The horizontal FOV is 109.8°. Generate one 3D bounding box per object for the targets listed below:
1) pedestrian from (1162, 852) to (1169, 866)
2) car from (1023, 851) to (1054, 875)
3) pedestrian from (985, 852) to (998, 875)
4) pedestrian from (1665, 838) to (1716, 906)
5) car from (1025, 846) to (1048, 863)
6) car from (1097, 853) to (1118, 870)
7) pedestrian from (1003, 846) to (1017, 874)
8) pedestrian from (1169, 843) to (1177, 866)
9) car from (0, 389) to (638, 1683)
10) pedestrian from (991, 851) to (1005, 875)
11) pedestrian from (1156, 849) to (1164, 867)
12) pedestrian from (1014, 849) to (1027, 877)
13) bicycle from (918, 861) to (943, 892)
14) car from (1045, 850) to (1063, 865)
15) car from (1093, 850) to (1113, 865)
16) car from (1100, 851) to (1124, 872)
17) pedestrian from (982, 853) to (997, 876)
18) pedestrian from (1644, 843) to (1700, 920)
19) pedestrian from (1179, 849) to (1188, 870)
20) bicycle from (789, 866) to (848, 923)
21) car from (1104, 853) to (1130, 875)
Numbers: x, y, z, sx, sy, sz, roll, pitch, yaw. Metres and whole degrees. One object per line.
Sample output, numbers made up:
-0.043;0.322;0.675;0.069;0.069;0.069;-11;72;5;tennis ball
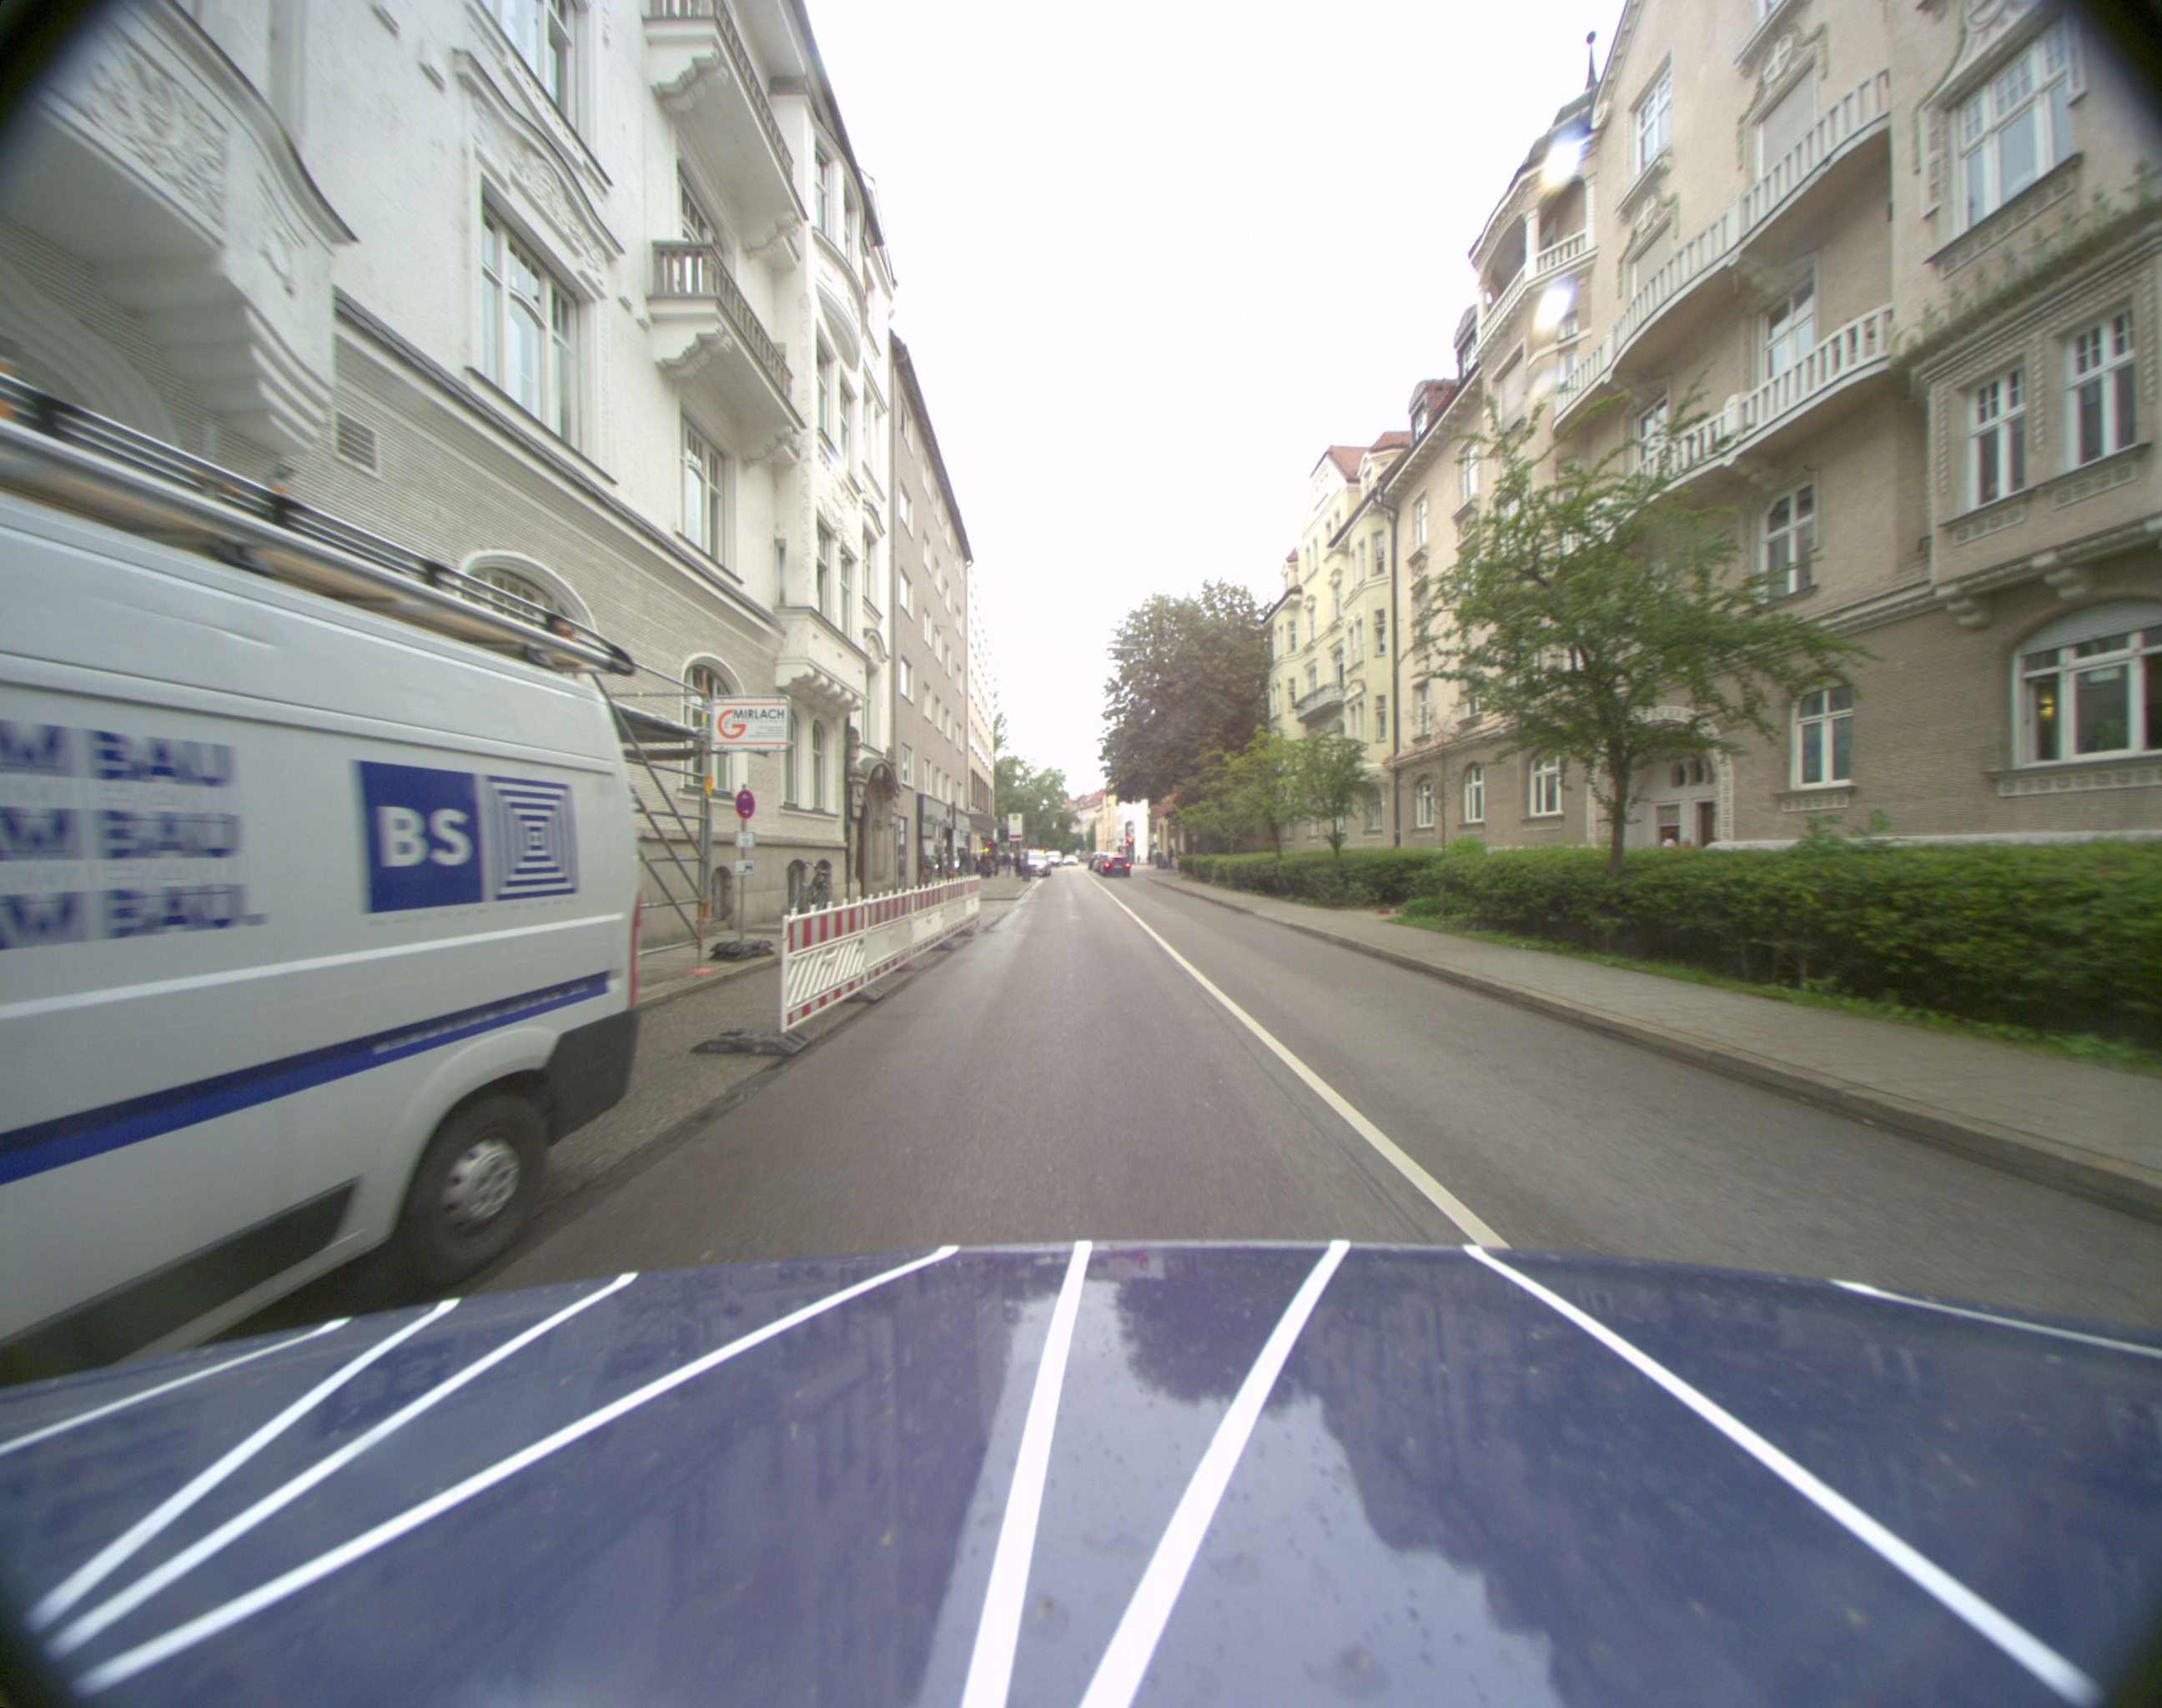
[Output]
7.333;0.433;65.763;0.546;1.237;0.577;0;1;0;pedestrian
-2.987;0.600;54.490;1.723;1.622;4.001;0;0;4;car
-5.625;0.570;47.665;0.747;1.439;0.571;0;1;0;pedestrian
14.508;0.417;18.097;0.611;1.602;0.721;0;1;-12;pedestrian
-4.312;0.071;74.501;1.723;1.622;4.001;0;0;4;car
2.293;0.591;64.988;1.723;1.398;4.001;0;0;4;car
-4.680;0.381;50.166;0.826;1.849;0.820;-1;1;-2;pedestrian
7.616;0.050;62.931;0.625;1.945;0.662;0;1;0;pedestrian
-3.267;0.372;1.062;2.082;2.673;5.444;1;0;0;car
-5.367;0.572;49.180;0.837;1.580;0.805;0;1;-5;pedestrian
6.887;0.369;66.223;0.625;1.579;0.662;0;1;0;pedestrian
-3.738;0.539;46.841;0.745;1.706;0.616;0;1;0;pedestrian
-5.722;0.848;28.899;0.593;1.111;1.845;0;0;0;bicycle
-3.193;0.404;89.973;1.920;1.648;4.599;0;0;-5;car
2.098;0.328;71.874;1.723;1.398;4.001;0;0;4;car
2.448;0.573;59.074;1.723;1.536;4.001;0;0;4;car
-5.580;0.650;46.398;0.837;1.399;0.866;0;1;-5;pedestrian
12.687;0.575;16.328;0.611;1.602;0.721;0;1;-12;pedestrian
7.679;0.404;57.025;0.625;1.611;0.662;0;1;0;pedestrian
-5.783;0.862;16.843;0.684;1.164;1.653;0;1;1;bicycle
2.473;0.649;51.898;1.723;1.398;4.001;0;0;4;car
